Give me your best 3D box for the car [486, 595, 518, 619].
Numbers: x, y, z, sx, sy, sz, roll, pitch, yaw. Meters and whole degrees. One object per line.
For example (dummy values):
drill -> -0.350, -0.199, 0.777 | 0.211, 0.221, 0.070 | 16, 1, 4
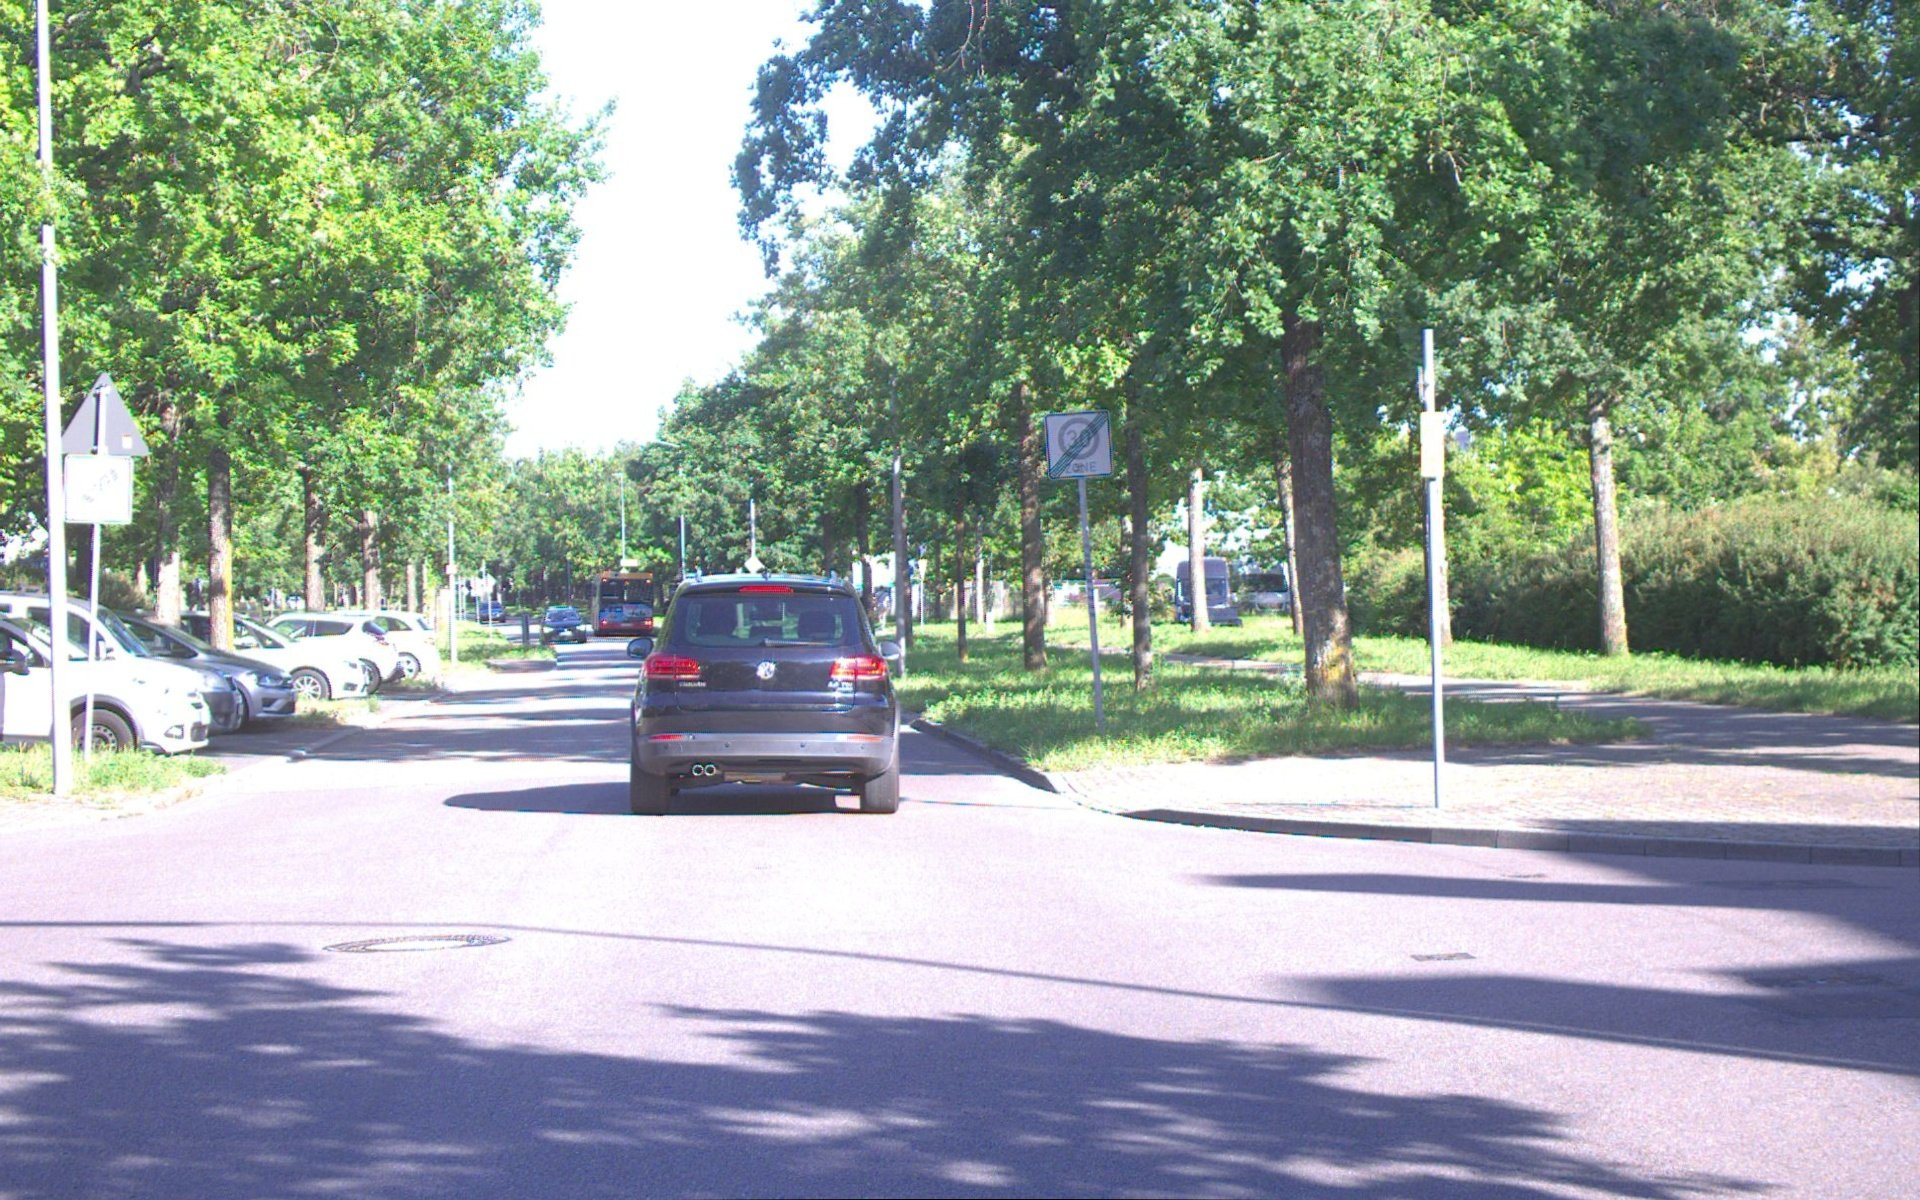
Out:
car -> -30.580, 0.453, 229.590 | 1.825, 1.546, 3.689 | -2, 1, -3

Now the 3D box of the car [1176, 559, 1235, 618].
car -> 8.718, -0.423, 122.081 | 1.994, 2.007, 3.999 | -2, 1, 4

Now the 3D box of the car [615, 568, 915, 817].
car -> -1.313, 0.599, 24.672 | 1.838, 1.631, 3.958 | 0, 0, 1

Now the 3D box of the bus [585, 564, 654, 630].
bus -> -16.071, -0.134, 162.607 | 2.928, 2.993, 5.737 | -1, 0, -3

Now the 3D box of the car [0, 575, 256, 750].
car -> -10.082, 0.700, 38.522 | 4.016, 1.833, 1.897 | -2, 1, -3

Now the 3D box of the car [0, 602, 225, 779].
car -> -9.391, 0.881, 33.121 | 4.241, 1.617, 1.897 | -1, 0, -3

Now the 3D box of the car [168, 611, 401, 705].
car -> -12.541, 1.071, 64.015 | 4.016, 1.642, 1.811 | -1, 0, -3

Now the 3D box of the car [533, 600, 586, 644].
car -> -16.032, 0.878, 137.770 | 1.852, 1.687, 3.956 | -1, 0, -3

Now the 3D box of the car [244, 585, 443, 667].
car -> -13.314, 0.554, 74.413 | 4.016, 1.642, 1.811 | -2, 1, -3

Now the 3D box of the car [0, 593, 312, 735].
car -> -10.370, 0.793, 43.499 | 4.016, 1.642, 1.897 | -2, 1, -3

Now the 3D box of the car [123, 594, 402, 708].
car -> -10.806, 0.783, 53.463 | 4.016, 1.642, 1.811 | -1, 0, -3

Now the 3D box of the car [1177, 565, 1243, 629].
car -> 8.119, -0.092, 111.601 | 2.054, 2.007, 3.999 | -1, 0, 5
